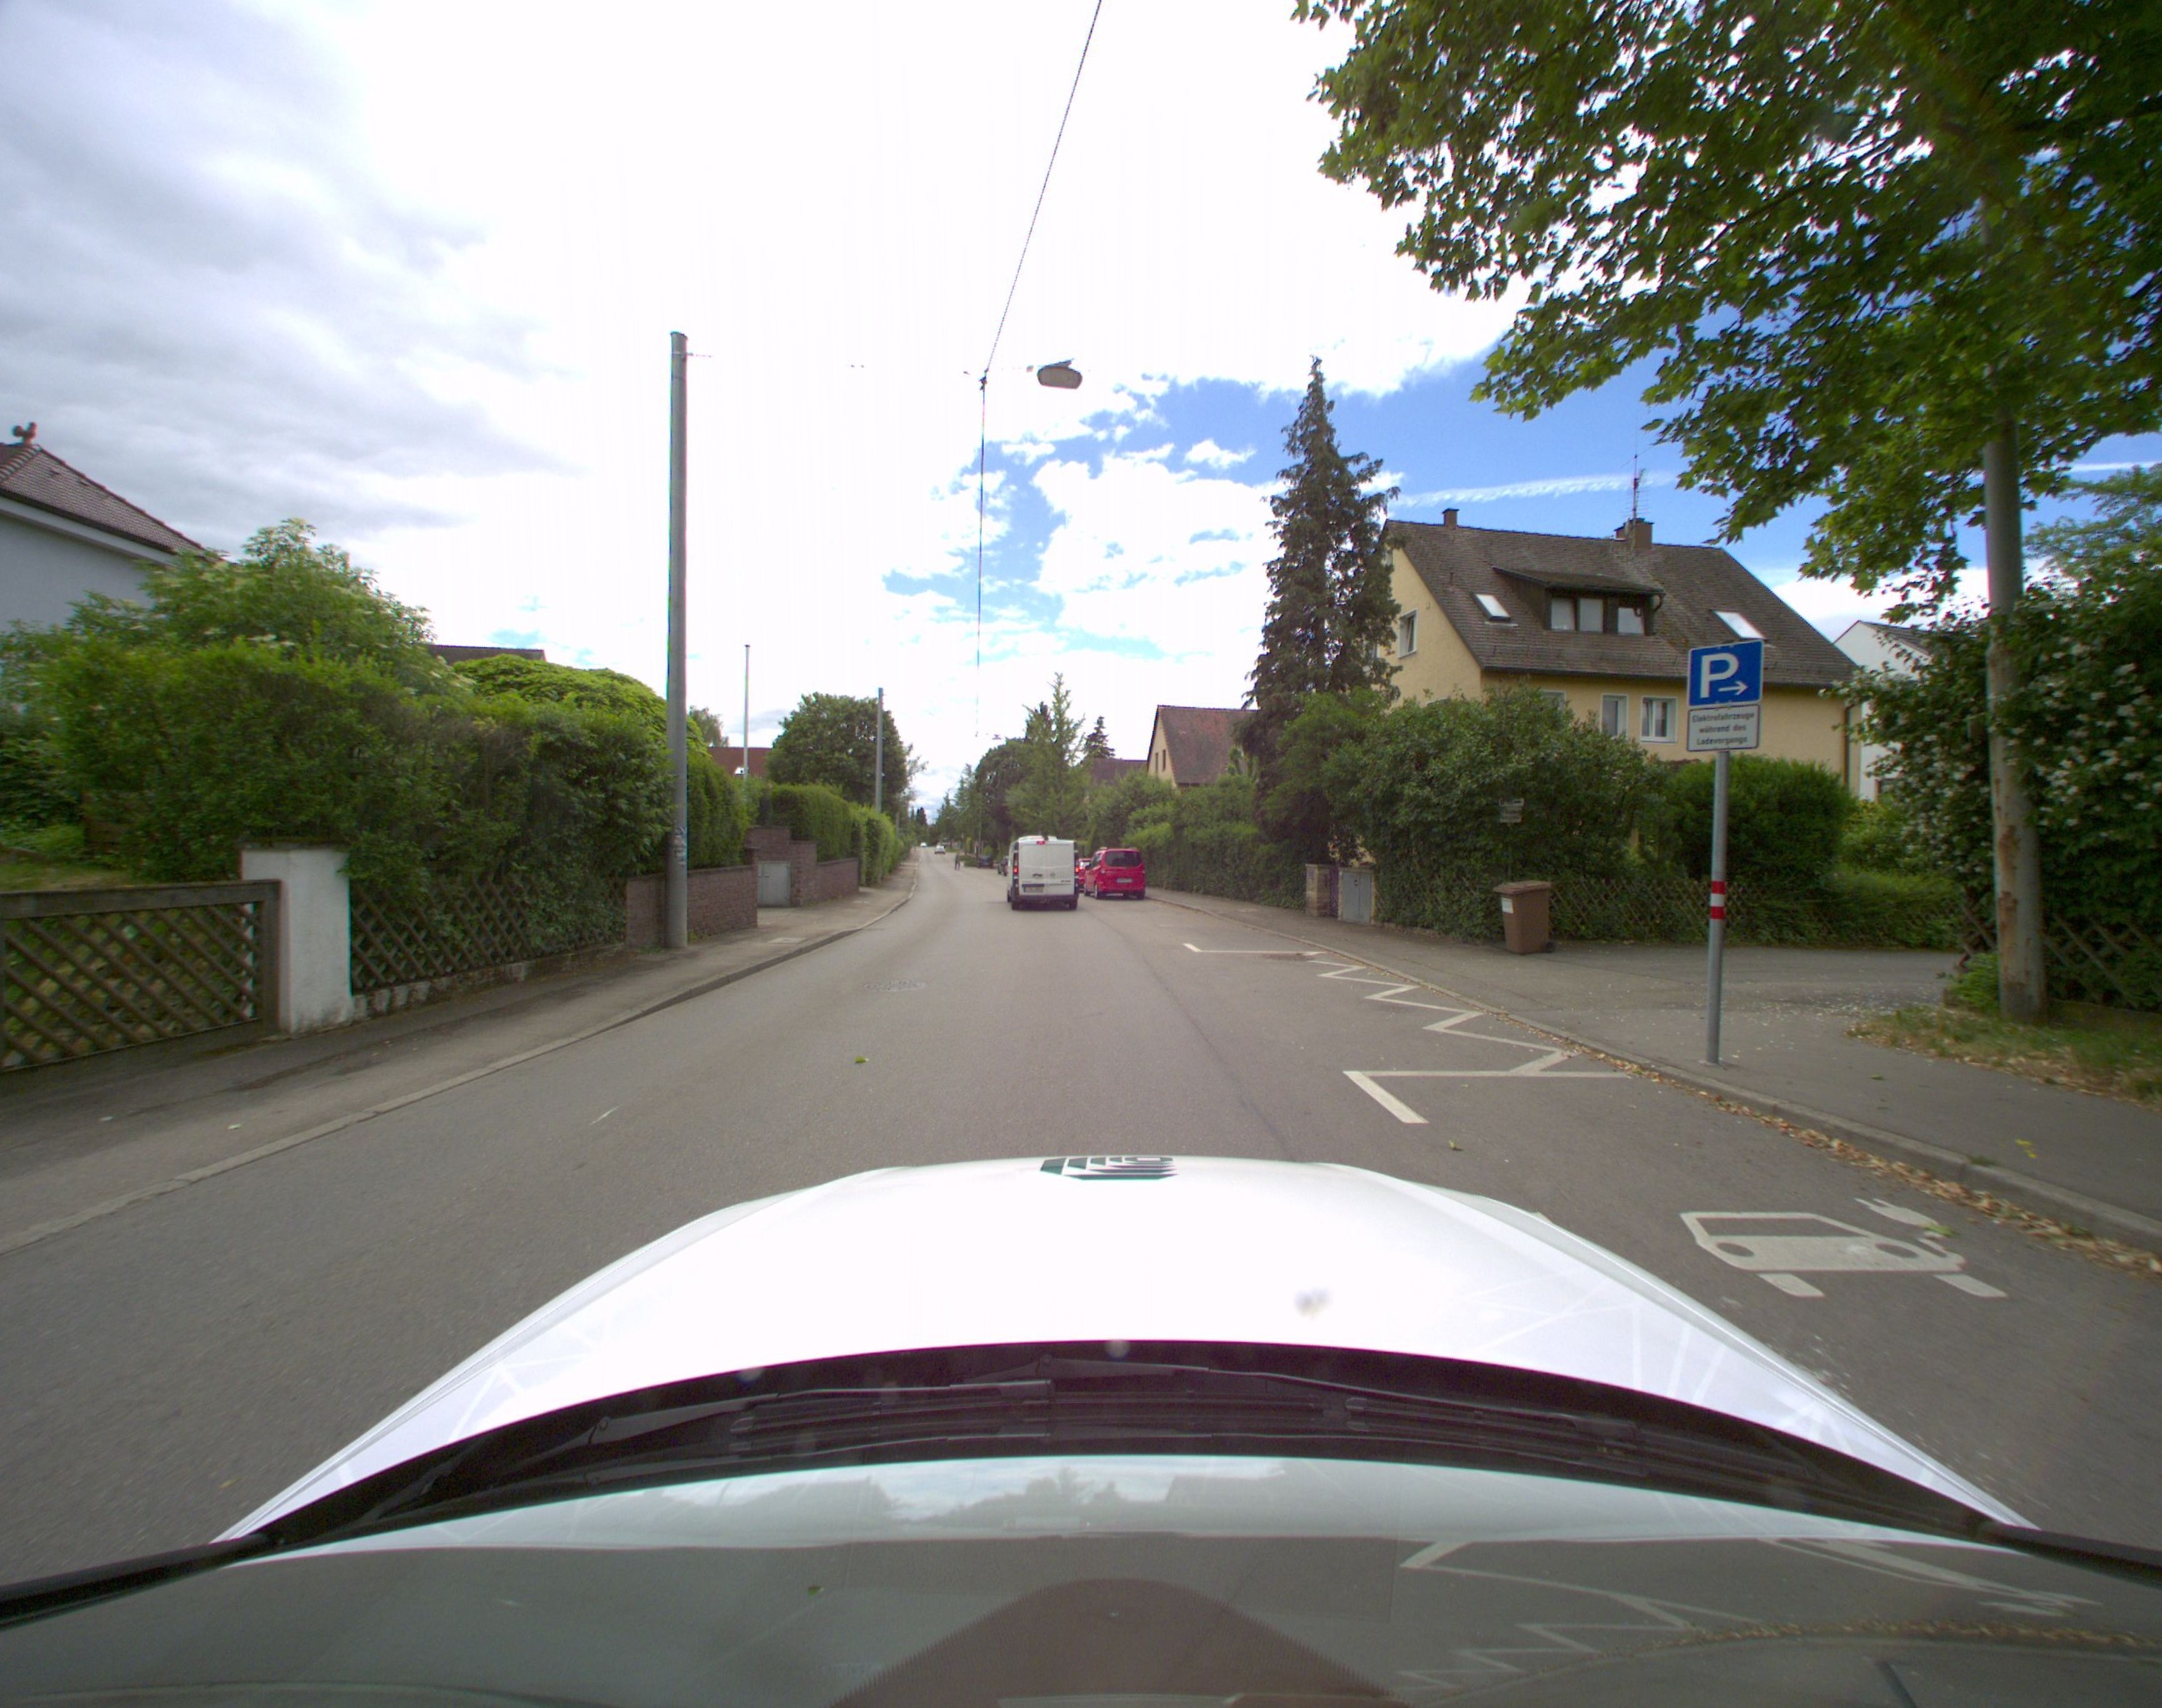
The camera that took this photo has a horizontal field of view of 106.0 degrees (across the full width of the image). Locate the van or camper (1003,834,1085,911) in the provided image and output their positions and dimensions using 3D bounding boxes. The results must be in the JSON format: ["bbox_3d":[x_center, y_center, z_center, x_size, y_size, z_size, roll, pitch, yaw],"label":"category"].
[{"bbox_3d":[-1.214,0.447,24.228,1.923,2.013,4.815,1,2,-9],"label":"van or camper"}]

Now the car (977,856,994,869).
[{"bbox_3d":[-10.320,0.872,87.926,1.532,1.304,3.214,1,0,-13],"label":"car"}]

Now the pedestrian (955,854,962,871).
[{"bbox_3d":[-11.314,0.759,75.256,0.553,1.559,0.553,1,1,-1],"label":"pedestrian"}]

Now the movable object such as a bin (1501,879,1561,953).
[{"bbox_3d":[6.818,0.923,12.354,0.601,1.069,0.569,2,0,3],"label":"movable object such as a bin"}]

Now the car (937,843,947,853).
[{"bbox_3d":[-26.837,-1.154,156.952,1.778,1.651,3.629,0,2,-13],"label":"car"}]

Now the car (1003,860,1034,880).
[{"bbox_3d":[-4.347,1.070,56.183,1.532,1.304,4.014,1,0,-12],"label":"car"}]

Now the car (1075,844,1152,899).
[{"bbox_3d":[1.075,0.575,29.595,1.761,1.797,4.932,1,0,-10],"label":"car"}]

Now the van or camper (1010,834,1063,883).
[{"bbox_3d":[-2.733,0.243,48.230,2.069,2.675,6.300,2,0,-13],"label":"van or camper"}]

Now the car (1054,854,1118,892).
[{"bbox_3d":[0.140,0.774,34.672,1.715,1.467,4.248,1,0,-14],"label":"car"}]
